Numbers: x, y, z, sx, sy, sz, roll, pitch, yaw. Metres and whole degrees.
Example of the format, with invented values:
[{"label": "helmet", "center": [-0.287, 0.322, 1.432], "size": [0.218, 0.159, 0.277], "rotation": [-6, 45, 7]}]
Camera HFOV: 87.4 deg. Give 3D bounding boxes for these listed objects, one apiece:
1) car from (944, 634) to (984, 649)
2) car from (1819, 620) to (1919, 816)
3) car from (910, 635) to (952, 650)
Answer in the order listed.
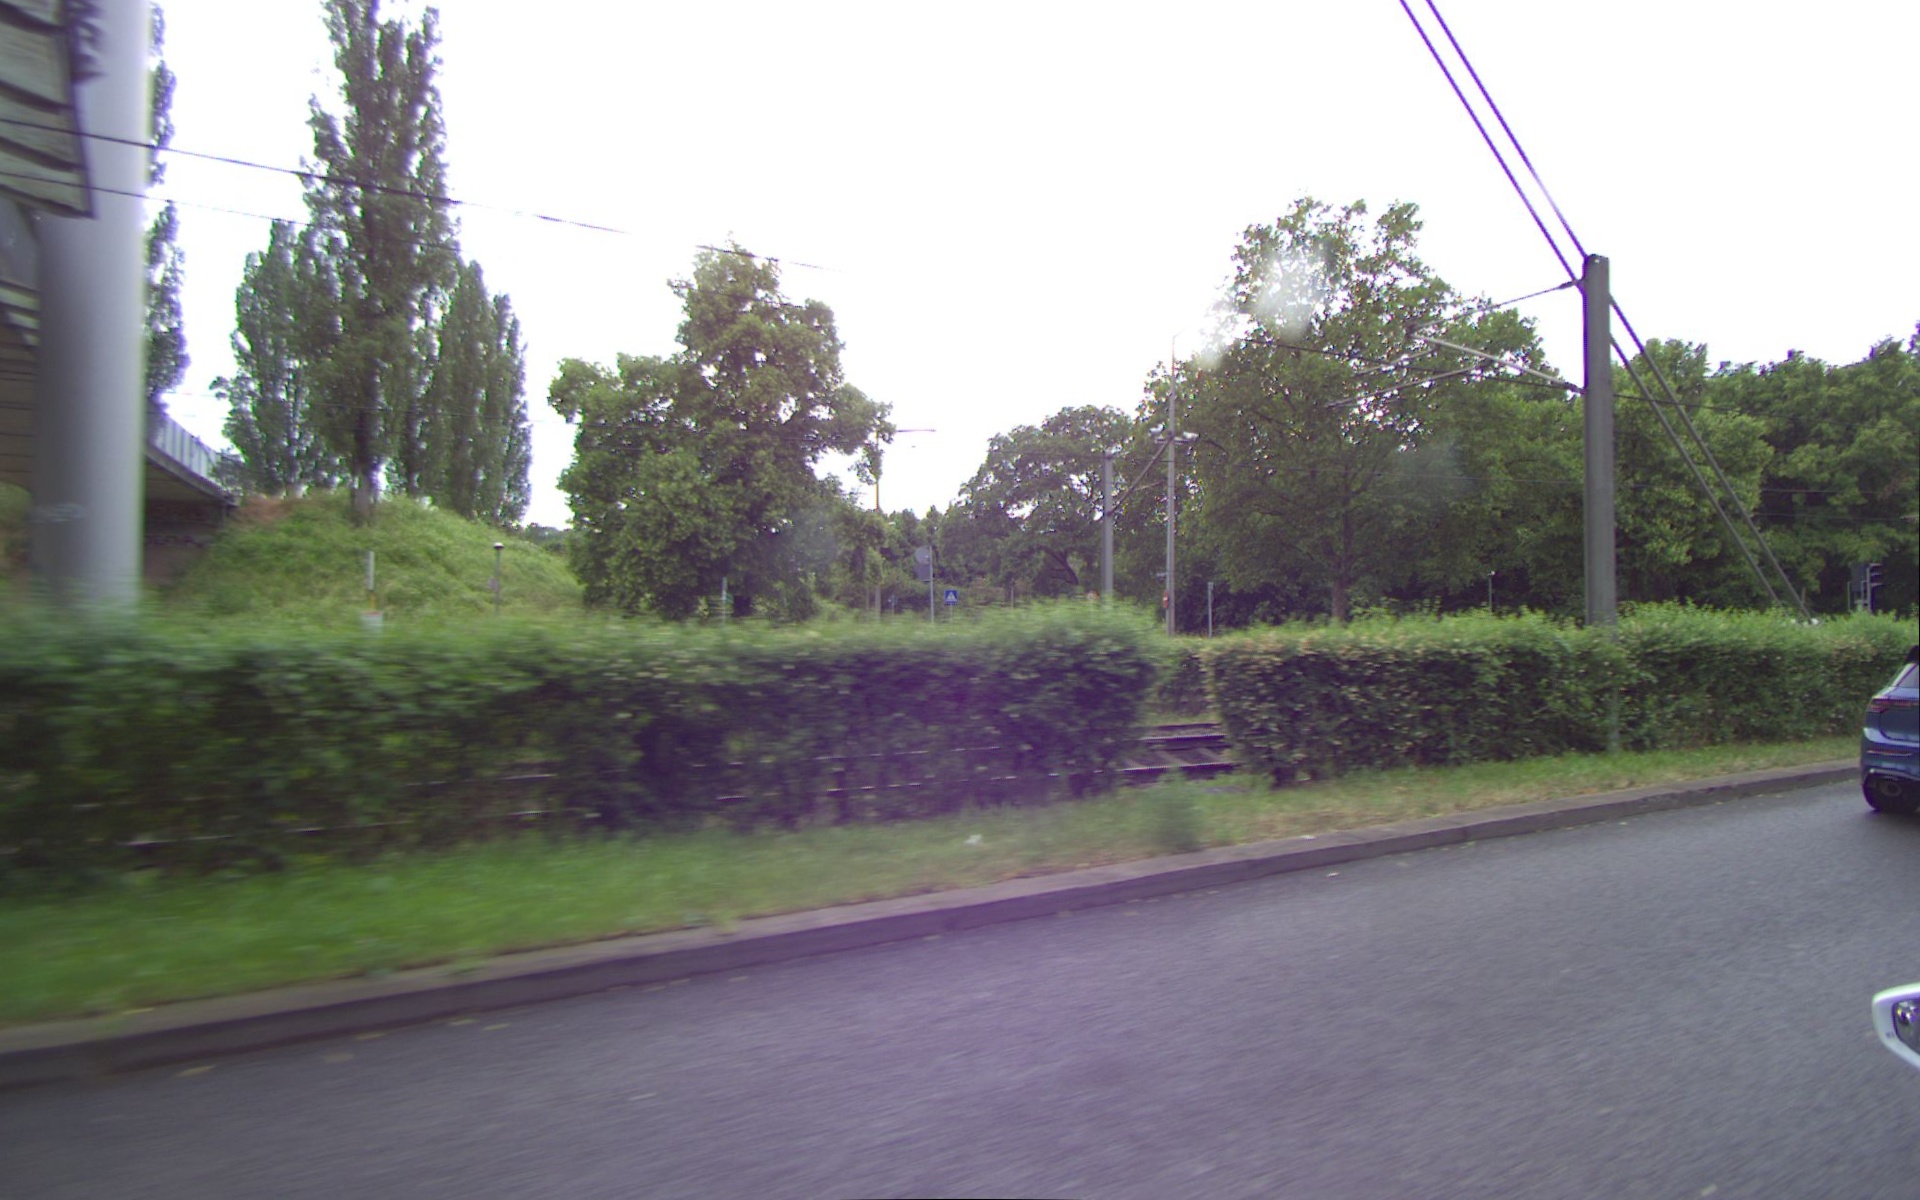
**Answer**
[{"label": "car", "center": [0.415, 4.240, 102.908], "size": [1.860, 1.386, 3.980], "rotation": [2, -2, 42]}, {"label": "car", "center": [8.890, 0.904, 7.963], "size": [4.294, 1.397, 1.800], "rotation": [2, -1, -29]}, {"label": "car", "center": [-2.833, 4.188, 98.417], "size": [1.860, 1.386, 3.979], "rotation": [2, -2, 42]}]
